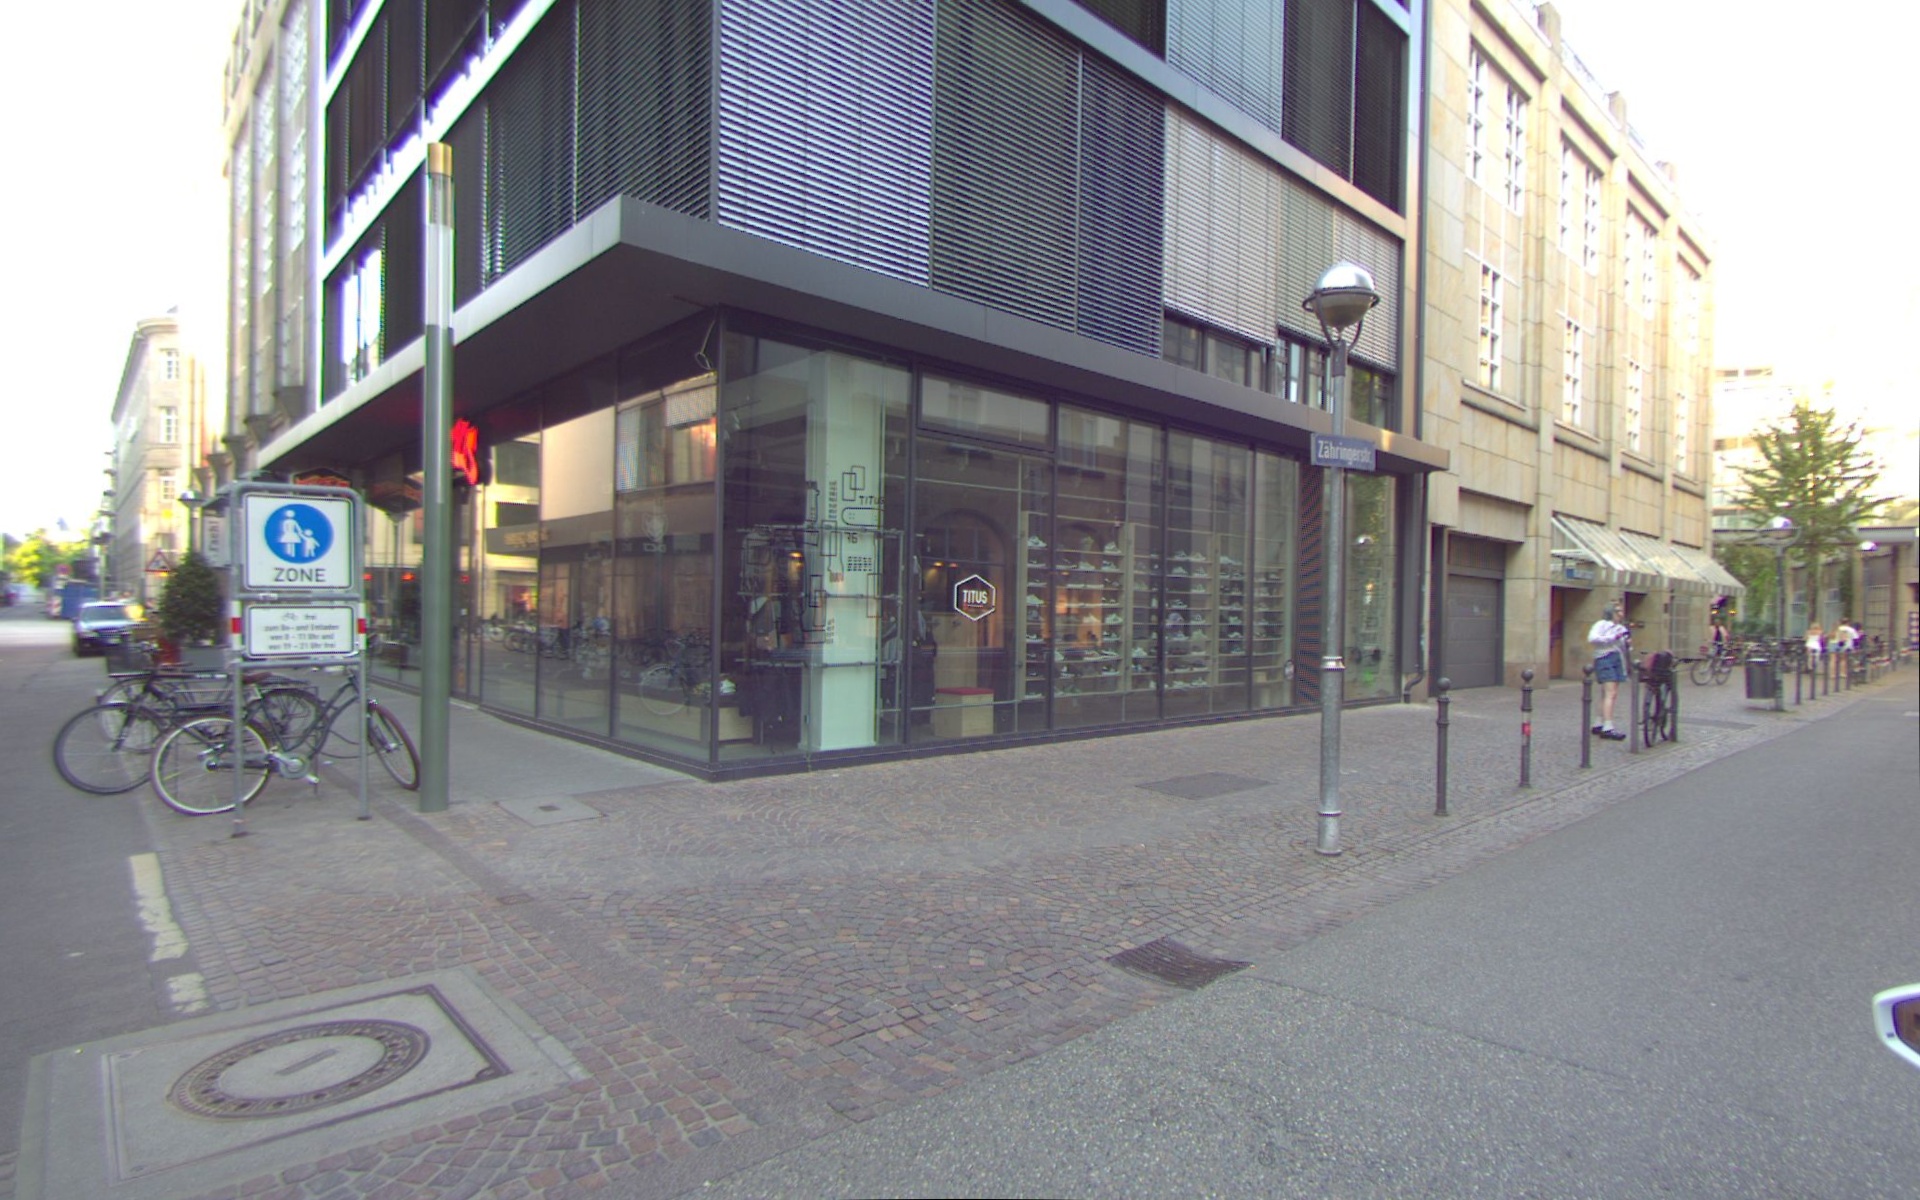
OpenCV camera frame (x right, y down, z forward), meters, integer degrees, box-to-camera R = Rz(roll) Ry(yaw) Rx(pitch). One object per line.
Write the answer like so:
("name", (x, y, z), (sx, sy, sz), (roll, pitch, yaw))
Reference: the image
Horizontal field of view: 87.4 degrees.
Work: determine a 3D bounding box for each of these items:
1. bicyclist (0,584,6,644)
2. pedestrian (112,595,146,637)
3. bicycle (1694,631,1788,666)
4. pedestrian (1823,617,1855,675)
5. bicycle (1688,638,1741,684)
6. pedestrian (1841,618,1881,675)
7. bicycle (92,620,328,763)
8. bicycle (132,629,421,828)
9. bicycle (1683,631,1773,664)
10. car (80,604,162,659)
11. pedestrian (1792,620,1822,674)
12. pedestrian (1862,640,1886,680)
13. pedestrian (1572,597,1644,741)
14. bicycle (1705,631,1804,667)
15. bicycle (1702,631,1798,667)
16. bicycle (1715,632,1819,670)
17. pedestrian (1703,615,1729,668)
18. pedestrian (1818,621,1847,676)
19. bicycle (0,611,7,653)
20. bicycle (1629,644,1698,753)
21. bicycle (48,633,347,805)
("bicyclist", (-27.548, 0.403, 28.505), (0.671, 1.692, 0.858), (1, 0, -43))
("pedestrian", (-33.401, 0.637, 40.373), (0.623, 1.643, 0.783), (2, 0, 8))
("bicycle", (29.549, 1.824, 38.057), (2.717, 1.216, 0.756), (1, 0, 29))
("pedestrian", (27.872, 1.454, 31.853), (0.793, 1.780, 0.624), (2, 0, -42))
("bicycle", (19.294, 1.540, 25.653), (2.221, 1.096, 0.477), (1, -1, -37))
("pedestrian", (29.156, 1.496, 32.499), (0.793, 1.780, 0.856), (2, 0, -42))
("bicycle", (-7.649, 0.882, 10.309), (1.889, 1.286, 0.532), (-1, 1, -42))
("bicycle", (-4.895, 0.856, 7.274), (1.659, 1.221, 0.503), (-1, 1, -43))
("bicycle", (30.111, 1.847, 39.452), (2.717, 1.216, 0.732), (1, 0, 29))
("car", (-23.536, 0.847, 28.267), (1.590, 1.442, 3.565), (1, -1, -38))
("pedestrian", (26.554, 1.465, 31.493), (0.660, 1.625, 0.585), (2, 0, -42))
("pedestrian", (28.315, 1.849, 31.115), (0.518, 1.183, 0.462), (2, 0, -42))
("pedestrian", (8.500, 0.871, 13.170), (0.904, 1.815, 0.603), (1, 0, -44))
("bicycle", (28.776, 1.765, 36.452), (2.717, 1.216, 0.732), (1, 0, 29))
("bicycle", (29.257, 1.811, 37.264), (2.717, 1.216, 0.732), (1, 0, 29))
("bicycle", (28.115, 1.762, 35.052), (2.717, 1.216, 0.732), (1, 0, 29))
("pedestrian", (26.283, 1.436, 34.926), (0.647, 1.788, 0.615), (1, 0, 34))
("pedestrian", (26.862, 1.485, 30.916), (0.623, 1.625, 0.579), (2, 0, -42))
("bicycle", (-27.491, 0.895, 28.439), (0.695, 1.143, 1.979), (1, 0, -42))
("bicycle", (8.893, 1.195, 12.669), (0.407, 1.248, 1.816), (1, 0, 45))
("bicycle", (-6.135, 0.898, 8.176), (1.890, 1.197, 0.511), (0, 1, -44))
